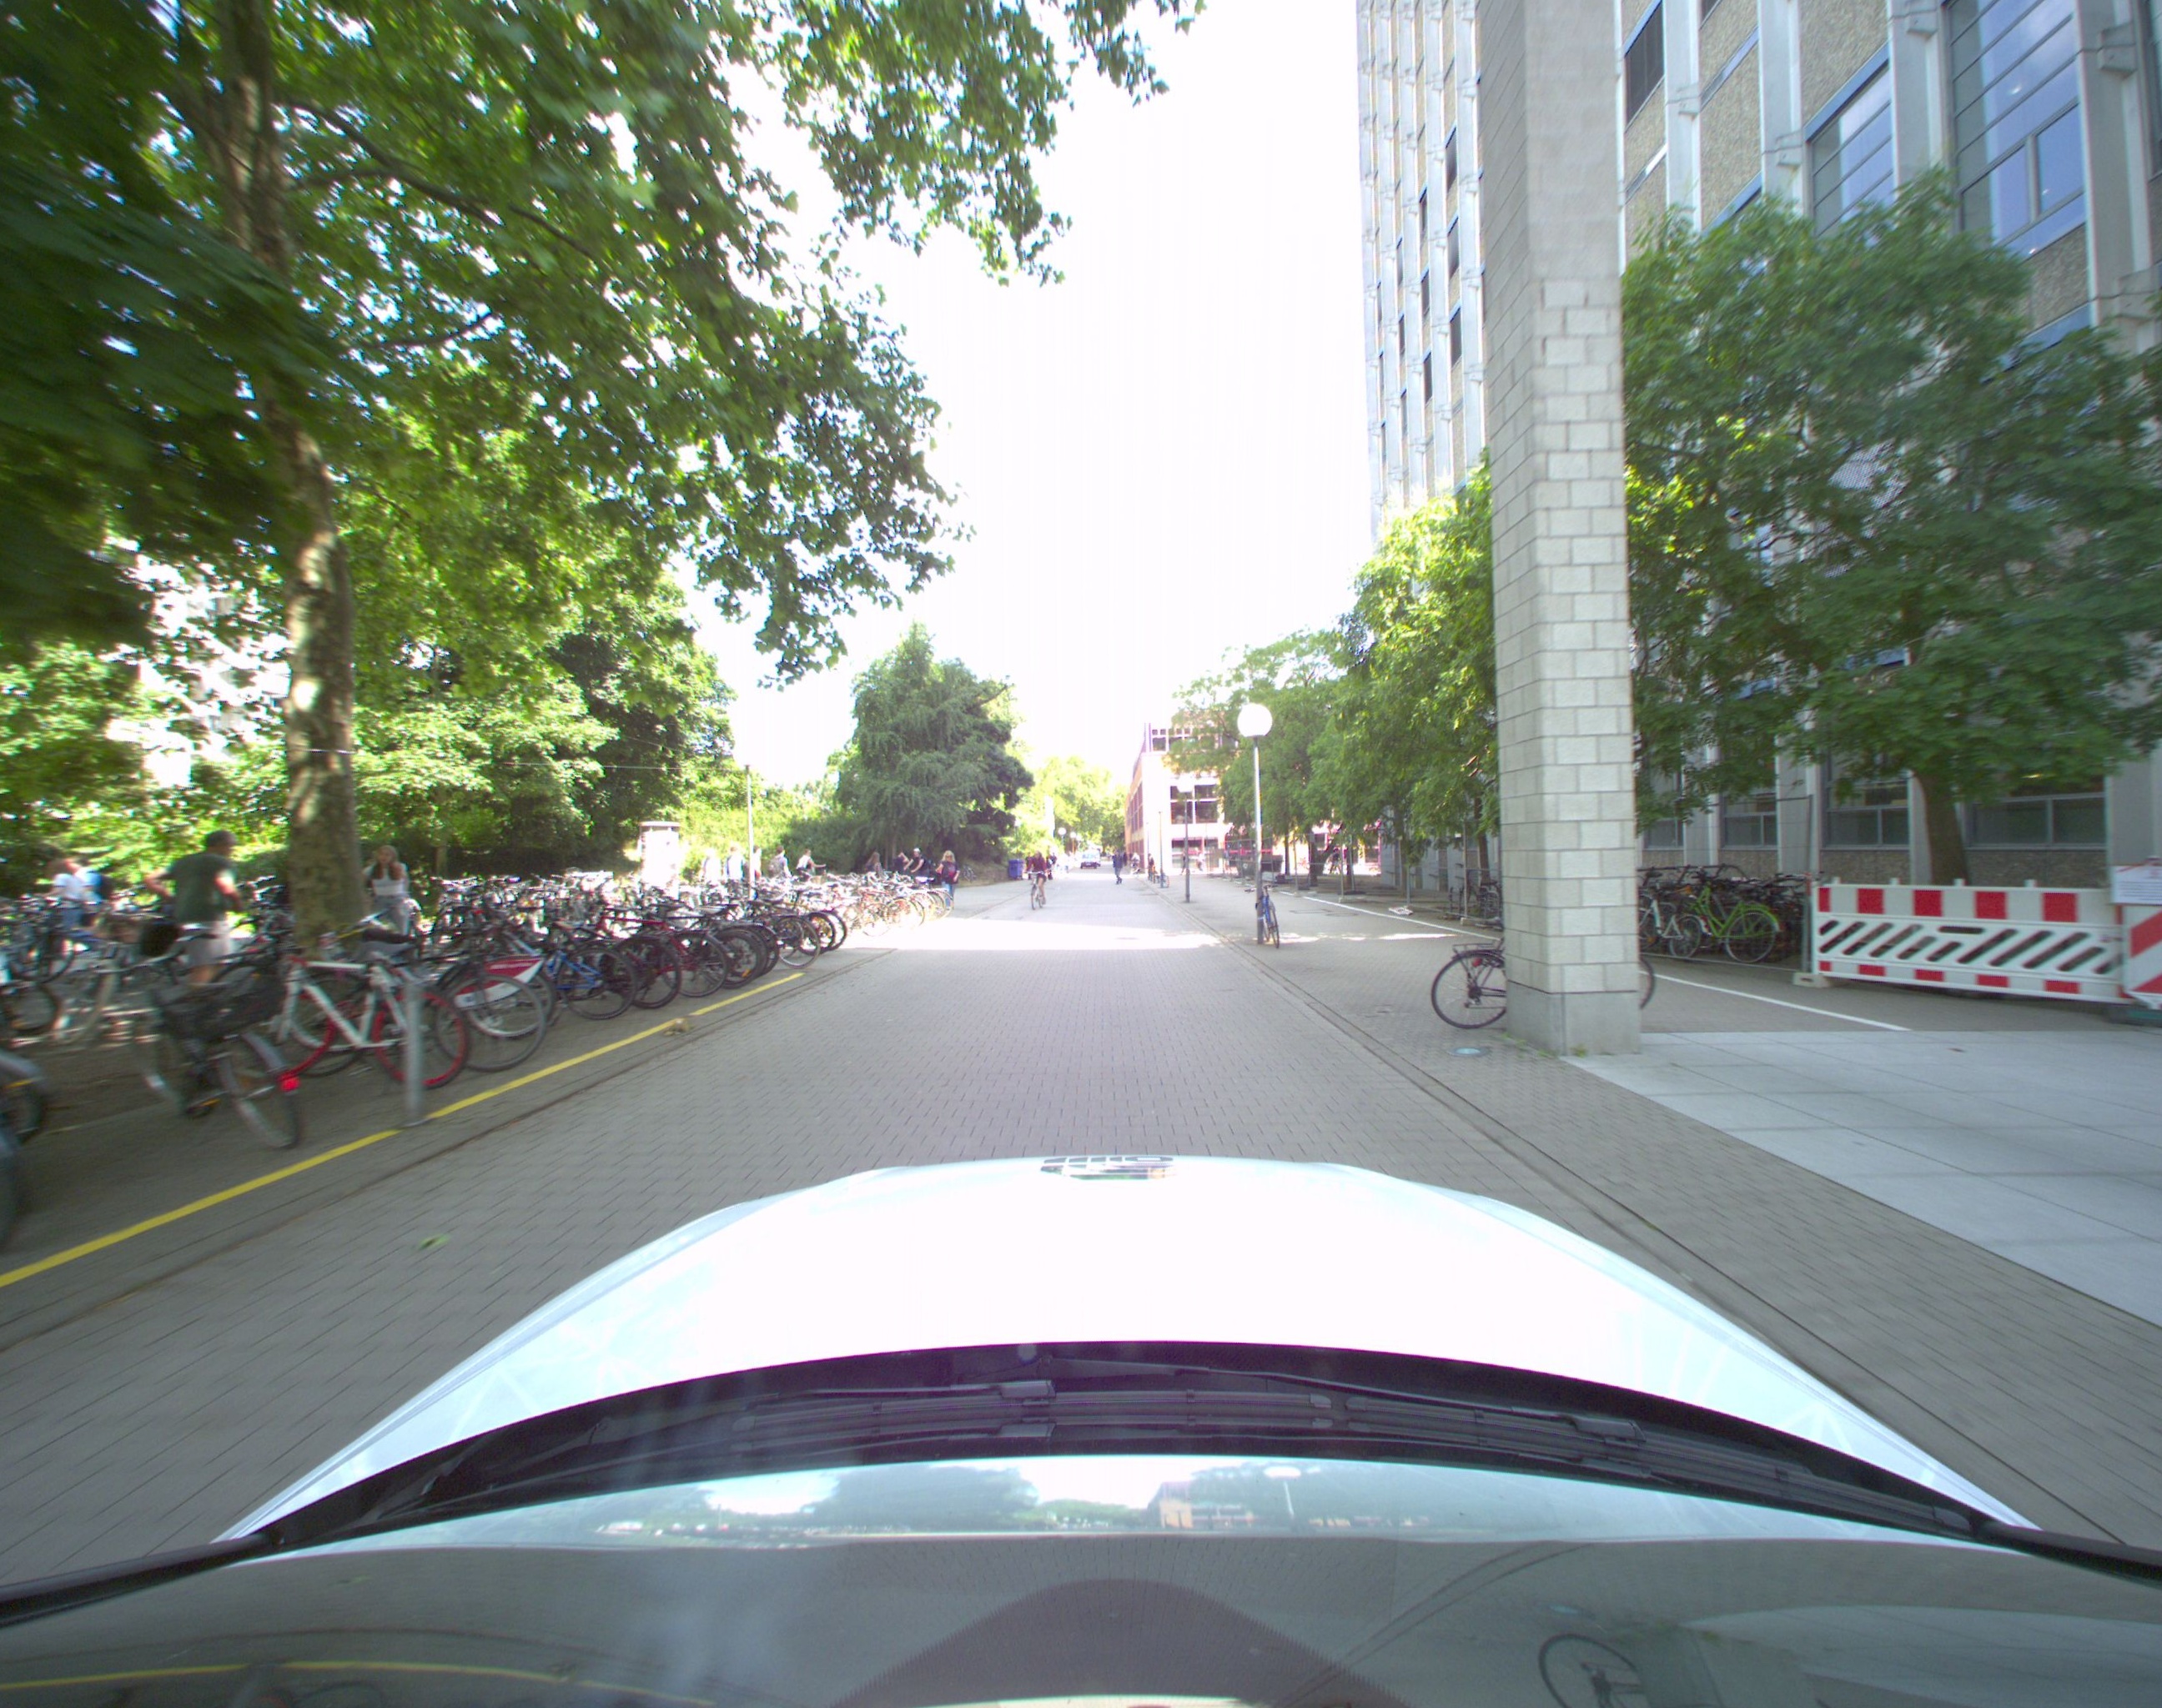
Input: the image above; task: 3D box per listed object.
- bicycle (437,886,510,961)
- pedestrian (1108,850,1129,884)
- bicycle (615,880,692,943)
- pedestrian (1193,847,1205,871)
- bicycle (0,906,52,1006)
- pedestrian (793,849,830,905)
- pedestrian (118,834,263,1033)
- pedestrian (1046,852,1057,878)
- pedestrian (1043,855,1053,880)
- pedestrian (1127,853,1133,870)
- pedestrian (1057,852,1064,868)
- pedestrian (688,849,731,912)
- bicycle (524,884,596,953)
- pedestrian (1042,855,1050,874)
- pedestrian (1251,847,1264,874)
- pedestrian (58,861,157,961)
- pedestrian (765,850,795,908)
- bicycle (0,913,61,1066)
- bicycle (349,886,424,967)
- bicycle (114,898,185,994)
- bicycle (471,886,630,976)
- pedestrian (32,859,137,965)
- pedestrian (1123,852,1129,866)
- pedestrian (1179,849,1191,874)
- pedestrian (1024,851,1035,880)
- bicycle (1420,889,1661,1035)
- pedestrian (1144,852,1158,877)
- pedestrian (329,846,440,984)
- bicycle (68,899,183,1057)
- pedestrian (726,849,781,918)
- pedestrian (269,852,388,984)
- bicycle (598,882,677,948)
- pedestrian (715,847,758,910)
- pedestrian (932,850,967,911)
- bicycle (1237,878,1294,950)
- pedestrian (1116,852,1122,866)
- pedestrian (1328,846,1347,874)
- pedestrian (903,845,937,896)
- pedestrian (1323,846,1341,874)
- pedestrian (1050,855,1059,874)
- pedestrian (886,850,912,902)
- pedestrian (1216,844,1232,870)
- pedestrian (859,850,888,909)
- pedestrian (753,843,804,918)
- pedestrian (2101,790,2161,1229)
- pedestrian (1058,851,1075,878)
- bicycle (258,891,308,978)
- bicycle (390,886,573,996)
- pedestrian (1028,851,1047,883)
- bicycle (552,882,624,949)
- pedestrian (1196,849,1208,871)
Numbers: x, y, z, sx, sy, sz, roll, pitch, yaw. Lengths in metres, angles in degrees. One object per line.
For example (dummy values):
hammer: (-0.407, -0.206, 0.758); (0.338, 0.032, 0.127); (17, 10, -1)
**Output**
bicycle: (-9.708, 1.076, 12.994); (1.677, 1.083, 0.477); (-1, 0, 37)
pedestrian: (2.064, 0.705, 45.116); (0.878, 1.857, 1.037); (0, 0, 20)
bicycle: (-7.888, 1.026, 15.006); (1.678, 1.083, 0.477); (-1, 0, 32)
pedestrian: (8.817, 0.376, 60.839); (0.823, 1.844, 0.684); (0, -1, -1)
bicycle: (-12.887, 1.205, 9.617); (0.476, 1.083, 1.681); (0, 0, -36)
pedestrian: (-8.537, 0.714, 25.817); (0.934, 1.724, 0.675); (-2, 0, -8)
pedestrian: (-8.618, 0.721, 7.921); (0.772, 1.806, 0.703); (-1, 0, -32)
pedestrian: (-2.108, 0.768, 58.599); (0.680, 1.844, 0.783); (-1, -1, 1)
pedestrian: (-2.154, 0.862, 52.559); (0.568, 1.611, 0.916); (0, -1, -8)
pedestrian: (5.056, 0.781, 84.194); (0.584, 1.672, 0.699); (-2, -1, 3)
pedestrian: (-2.294, 0.654, 91.420); (0.680, 1.844, 0.783); (-1, -1, 1)
pedestrian: (-10.894, 0.765, 23.897); (0.764, 1.804, 0.984); (-1, 0, 3)
bicycle: (-8.865, 1.070, 13.832); (1.677, 1.083, 0.477); (-1, 0, 37)
pedestrian: (-3.078, 0.947, 71.094); (0.681, 1.620, 0.977); (0, -1, -3)
pedestrian: (11.961, 0.431, 55.340); (0.762, 1.794, 0.589); (-2, -1, 9)
pedestrian: (-17.127, 0.965, 14.351); (0.910, 1.680, 0.762); (-1, 0, -32)
pedestrian: (-9.321, 0.755, 25.207); (0.689, 1.724, 0.723); (-2, 1, -35)
bicycle: (-9.006, 1.095, 6.840); (1.677, 1.108, 0.506); (-1, 0, 37)
bicycle: (-10.262, 1.041, 12.019); (1.677, 1.083, 0.477); (-1, 0, 37)
bicycle: (-12.151, 1.158, 10.651); (0.477, 1.083, 1.679); (0, 0, -44)
bicycle: (-6.981, 0.997, 10.775); (1.694, 1.108, 0.501); (-1, 0, -10)
pedestrian: (-16.691, 0.936, 13.669); (0.910, 1.680, 0.762); (-1, 0, -32)
pedestrian: (5.432, 0.634, 98.609); (0.584, 1.672, 0.818); (-2, -1, 3)
pedestrian: (7.275, 0.518, 56.897); (0.692, 1.672, 0.589); (-2, -1, 9)
pedestrian: (-3.322, 0.751, 52.539); (0.681, 1.873, 1.120); (0, -1, -3)
bicycle: (3.703, 0.855, 6.604); (1.735, 1.039, 0.449); (-2, 1, -4)
pedestrian: (4.645, 0.690, 54.240); (0.847, 1.651, 0.589); (-1, -1, 9)
pedestrian: (-9.076, 0.759, 10.625); (0.896, 1.703, 0.774); (-1, 0, 24)
bicycle: (-8.601, 1.042, 7.315); (1.677, 1.199, 0.579); (-1, 0, 37)
pedestrian: (-8.556, 0.746, 21.268); (0.710, 1.724, 1.071); (-1, 1, 34)
pedestrian: (-10.117, 0.823, 10.989); (0.766, 1.703, 0.906); (-1, 0, -5)
bicycle: (-7.852, 1.051, 14.393); (1.678, 1.083, 0.477); (-1, 0, 32)
pedestrian: (-10.097, 0.708, 23.914); (0.829, 1.815, 0.883); (-1, 0, 3)
pedestrian: (-3.768, 0.738, 23.281); (0.770, 1.679, 0.901); (-2, 1, -21)
bicycle: (3.035, 0.964, 13.564); (0.535, 1.039, 1.859); (-2, 0, 1)
pedestrian: (4.537, 0.631, 97.306); (0.584, 1.672, 0.818); (-2, -1, 3)
pedestrian: (16.081, 0.366, 51.109); (0.900, 1.728, 0.684); (-1, -3, -3)
pedestrian: (-5.903, 0.580, 29.885); (0.606, 1.835, 1.056); (-1, 0, 34)
pedestrian: (15.965, 0.404, 51.816); (0.900, 1.728, 0.684); (-1, -3, -3)
pedestrian: (-2.316, 0.911, 71.146); (0.681, 1.620, 0.913); (0, -1, -3)
pedestrian: (-6.195, 0.733, 27.770); (0.682, 1.724, 0.904); (0, 0, -1)
pedestrian: (10.018, 0.225, 56.982); (0.894, 1.728, 0.688); (-2, -3, 20)
pedestrian: (-6.130, 0.739, 24.060); (0.682, 1.724, 0.731); (0, 0, -1)
pedestrian: (-7.713, 0.656, 20.796); (0.677, 1.835, 0.947); (-1, 1, 35)
pedestrian: (4.440, 0.558, 3.052); (0.812, 1.617, 0.732); (-2, 0, -38)
pedestrian: (-1.016, 0.758, 57.615); (0.717, 1.881, 1.089); (-1, -1, 28)
bicycle: (-11.150, 1.082, 11.394); (0.477, 1.083, 1.679); (0, 0, -44)
bicycle: (-7.113, 1.012, 9.718); (1.694, 1.220, 0.501); (-1, 0, -10)
pedestrian: (-2.587, 0.755, 48.175); (0.786, 1.845, 1.109); (0, 0, -23)
bicycle: (-8.651, 1.051, 14.271); (1.677, 1.083, 0.477); (-1, 0, 37)
pedestrian: (8.923, 0.459, 60.141); (0.778, 1.620, 0.684); (0, -1, -1)
